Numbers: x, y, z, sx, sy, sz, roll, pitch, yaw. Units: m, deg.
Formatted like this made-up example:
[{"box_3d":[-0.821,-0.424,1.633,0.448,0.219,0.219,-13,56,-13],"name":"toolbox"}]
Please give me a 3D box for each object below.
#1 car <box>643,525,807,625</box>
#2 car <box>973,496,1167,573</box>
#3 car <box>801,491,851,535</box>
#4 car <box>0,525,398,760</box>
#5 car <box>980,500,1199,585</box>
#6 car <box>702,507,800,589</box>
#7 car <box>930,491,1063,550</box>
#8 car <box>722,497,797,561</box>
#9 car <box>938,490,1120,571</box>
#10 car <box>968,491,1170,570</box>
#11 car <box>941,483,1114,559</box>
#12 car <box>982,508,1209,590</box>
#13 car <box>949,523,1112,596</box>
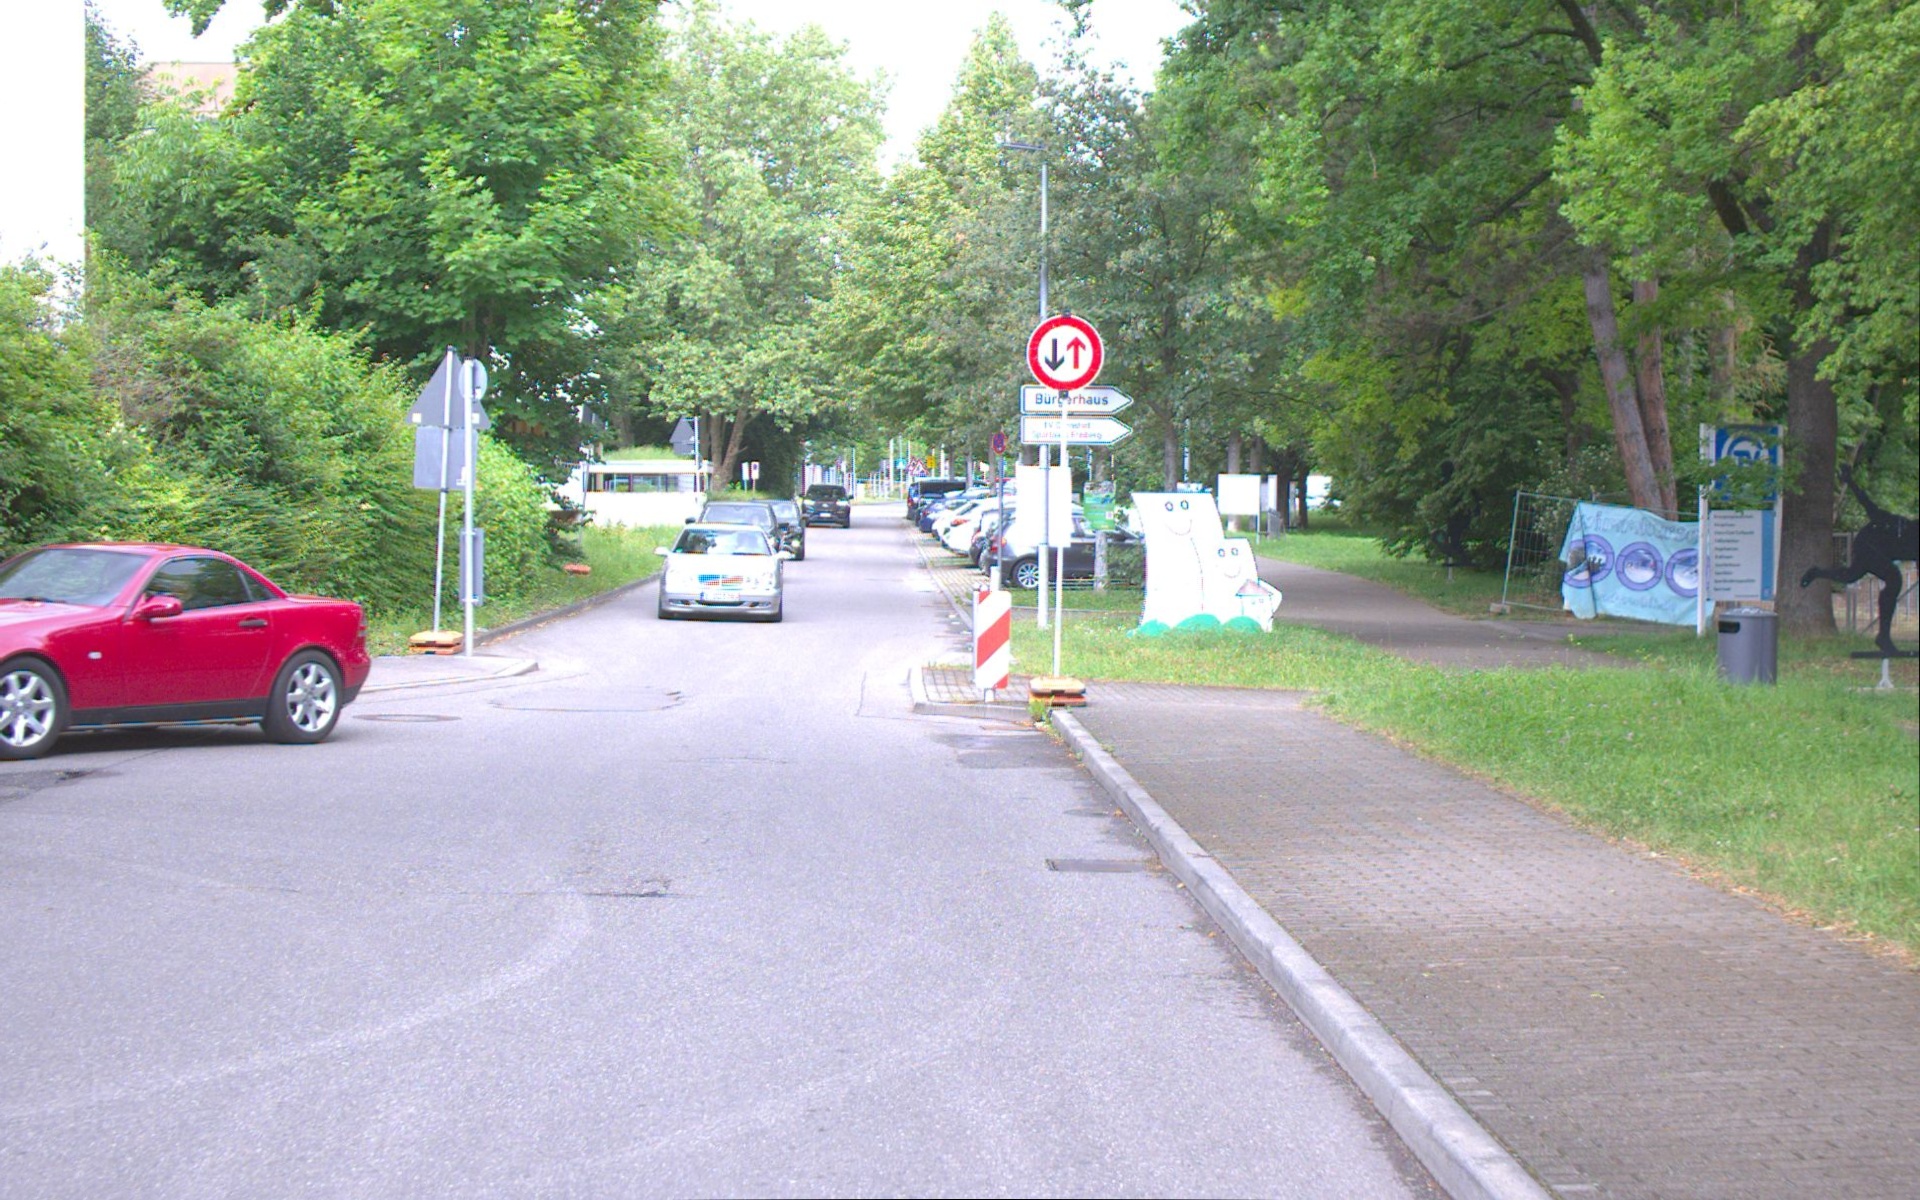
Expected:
[{"box_3d":[-3.300,-0.387,49.028,1.781,1.302,4.296,1,2,4],"name":"car"},{"box_3d":[2.430,-1.477,76.517,4.062,1.483,1.823,-3,2,-4],"name":"car"},{"box_3d":[-5.493,-3.586,141.025,1.968,1.741,4.339,1,2,-2],"name":"car"},{"box_3d":[-5.534,0.212,21.440,1.753,1.331,4.058,2,2,32],"name":"car"},{"box_3d":[2.467,-1.098,66.240,4.062,1.563,1.822,-1,0,-2],"name":"car"},{"box_3d":[-4.233,-1.082,70.021,1.803,1.586,4.296,1,2,-1],"name":"car"},{"box_3d":[1.162,-2.565,110.943,4.062,1.681,1.823,-3,2,-4],"name":"car"},{"box_3d":[-5.170,-1.861,88.962,1.803,1.586,4.297,1,2,-2],"name":"car"},{"box_3d":[1.614,-1.655,81.582,4.062,1.681,1.823,-3,2,-4],"name":"car"},{"box_3d":[2.249,-1.465,71.515,4.062,1.563,1.823,-1,2,-2],"name":"car"},{"box_3d":[1.662,-1.972,85.653,4.062,1.681,1.823,-3,2,-4],"name":"car"},{"box_3d":[2.481,-0.939,63.896,4.062,1.429,2.000,-1,0,-2],"name":"car"},{"box_3d":[1.839,-1.075,90.574,4.062,1.681,1.823,-3,2,-4],"name":"car"}]
